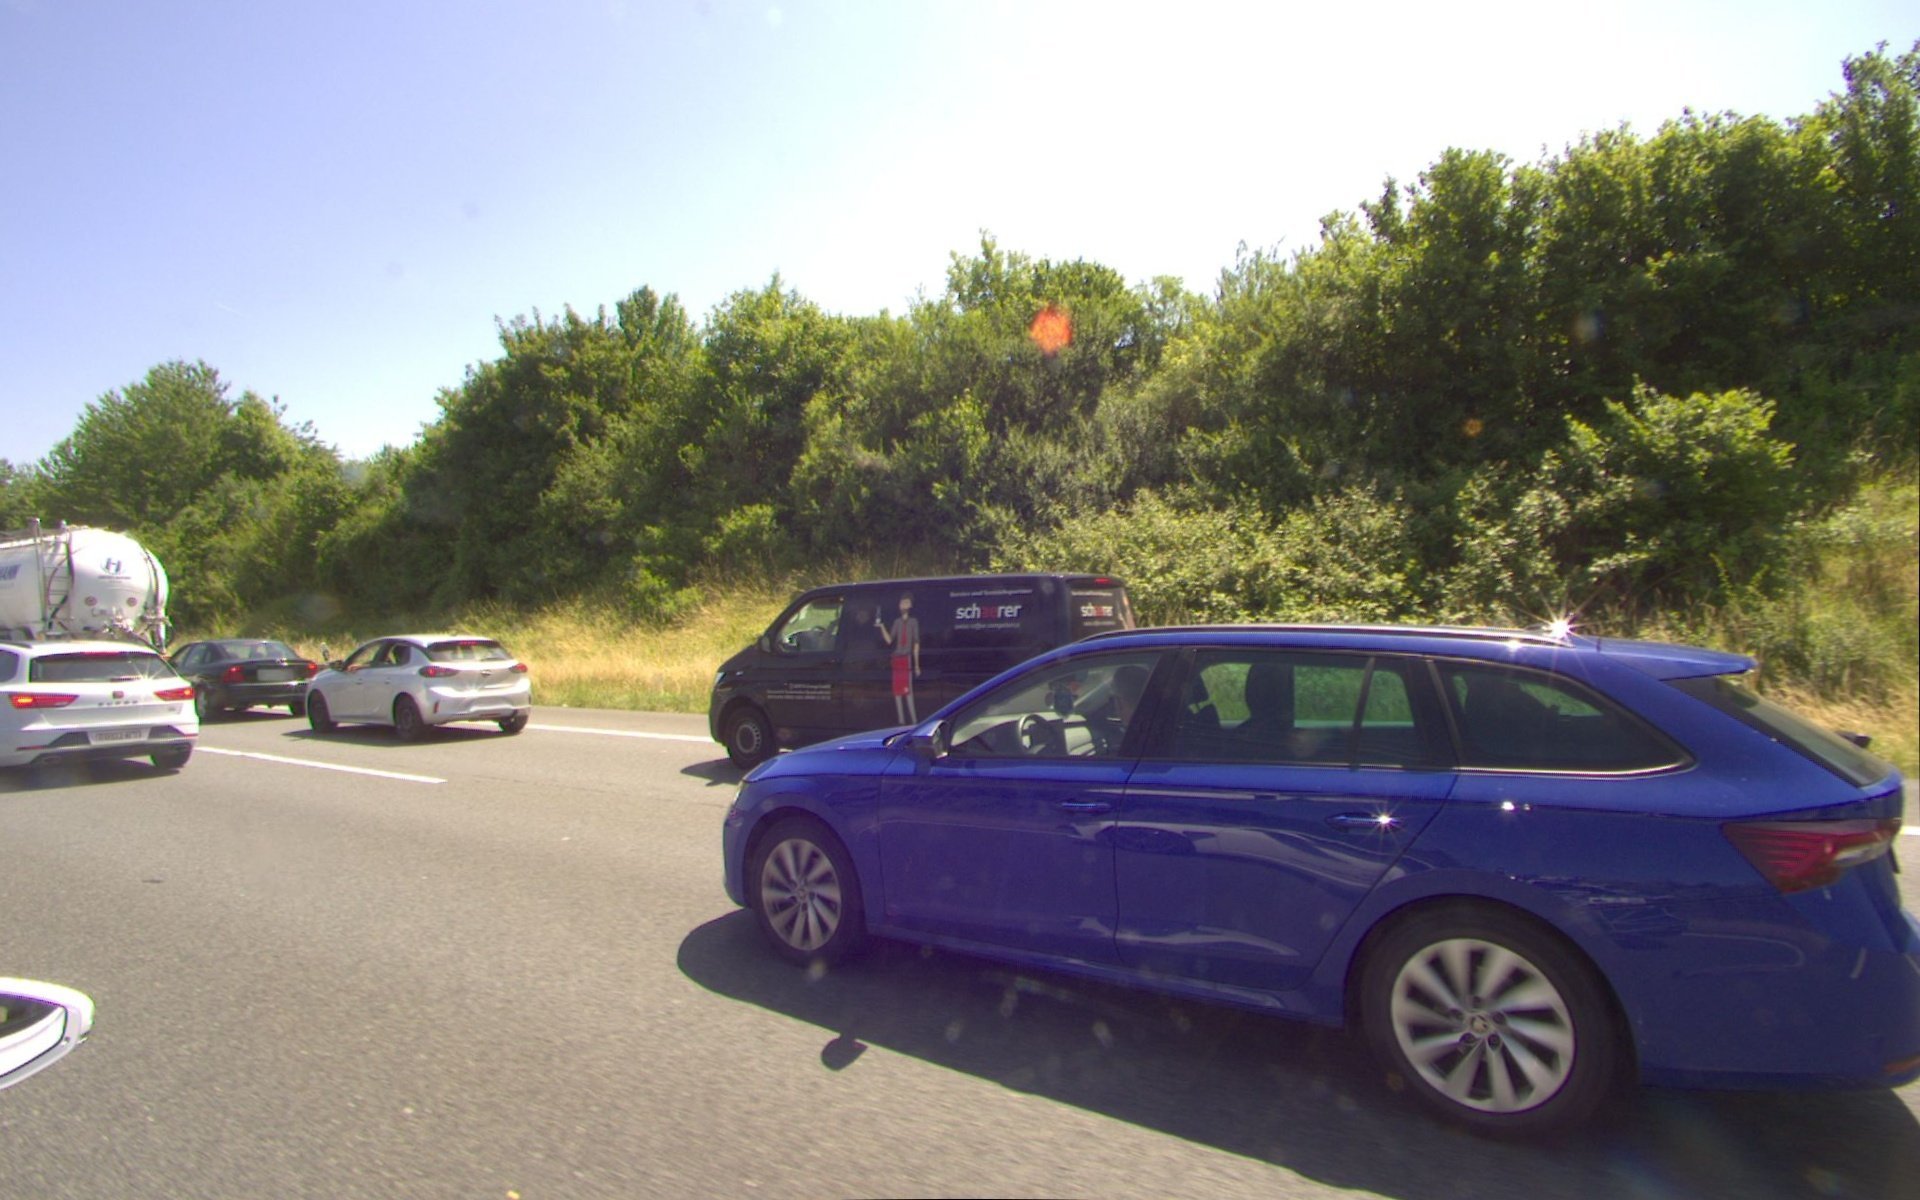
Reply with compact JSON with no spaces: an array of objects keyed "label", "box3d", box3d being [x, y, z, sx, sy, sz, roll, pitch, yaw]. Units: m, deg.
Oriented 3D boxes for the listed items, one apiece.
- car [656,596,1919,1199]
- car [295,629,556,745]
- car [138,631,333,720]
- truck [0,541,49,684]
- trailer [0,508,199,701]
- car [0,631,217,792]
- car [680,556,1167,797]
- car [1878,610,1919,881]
[{"label":"car","box3d":[0.906,0.789,4.224,4.512,1.435,1.771,-2,0,35]},{"label":"car","box3d":[-7.974,1.184,14.852,3.971,1.462,1.727,-1,0,33]},{"label":"car","box3d":[-13.383,1.342,18.435,3.935,1.435,1.637,-2,0,34]},{"label":"truck","box3d":[-28.626,0.391,28.420,5.494,3.886,2.787,-1,0,33]},{"label":"trailer","box3d":[-22.695,0.222,24.545,11.325,3.895,2.755,-1,-1,33]},{"label":"car","box3d":[-10.224,1.126,11.214,4.255,1.462,1.743,-2,-1,34]},{"label":"car","box3d":[-0.512,0.706,10.311,4.791,1.965,1.909,-2,-1,34]},{"label":"car","box3d":[6.932,0.768,4.512,3.867,1.480,1.658,-1,0,33]}]
